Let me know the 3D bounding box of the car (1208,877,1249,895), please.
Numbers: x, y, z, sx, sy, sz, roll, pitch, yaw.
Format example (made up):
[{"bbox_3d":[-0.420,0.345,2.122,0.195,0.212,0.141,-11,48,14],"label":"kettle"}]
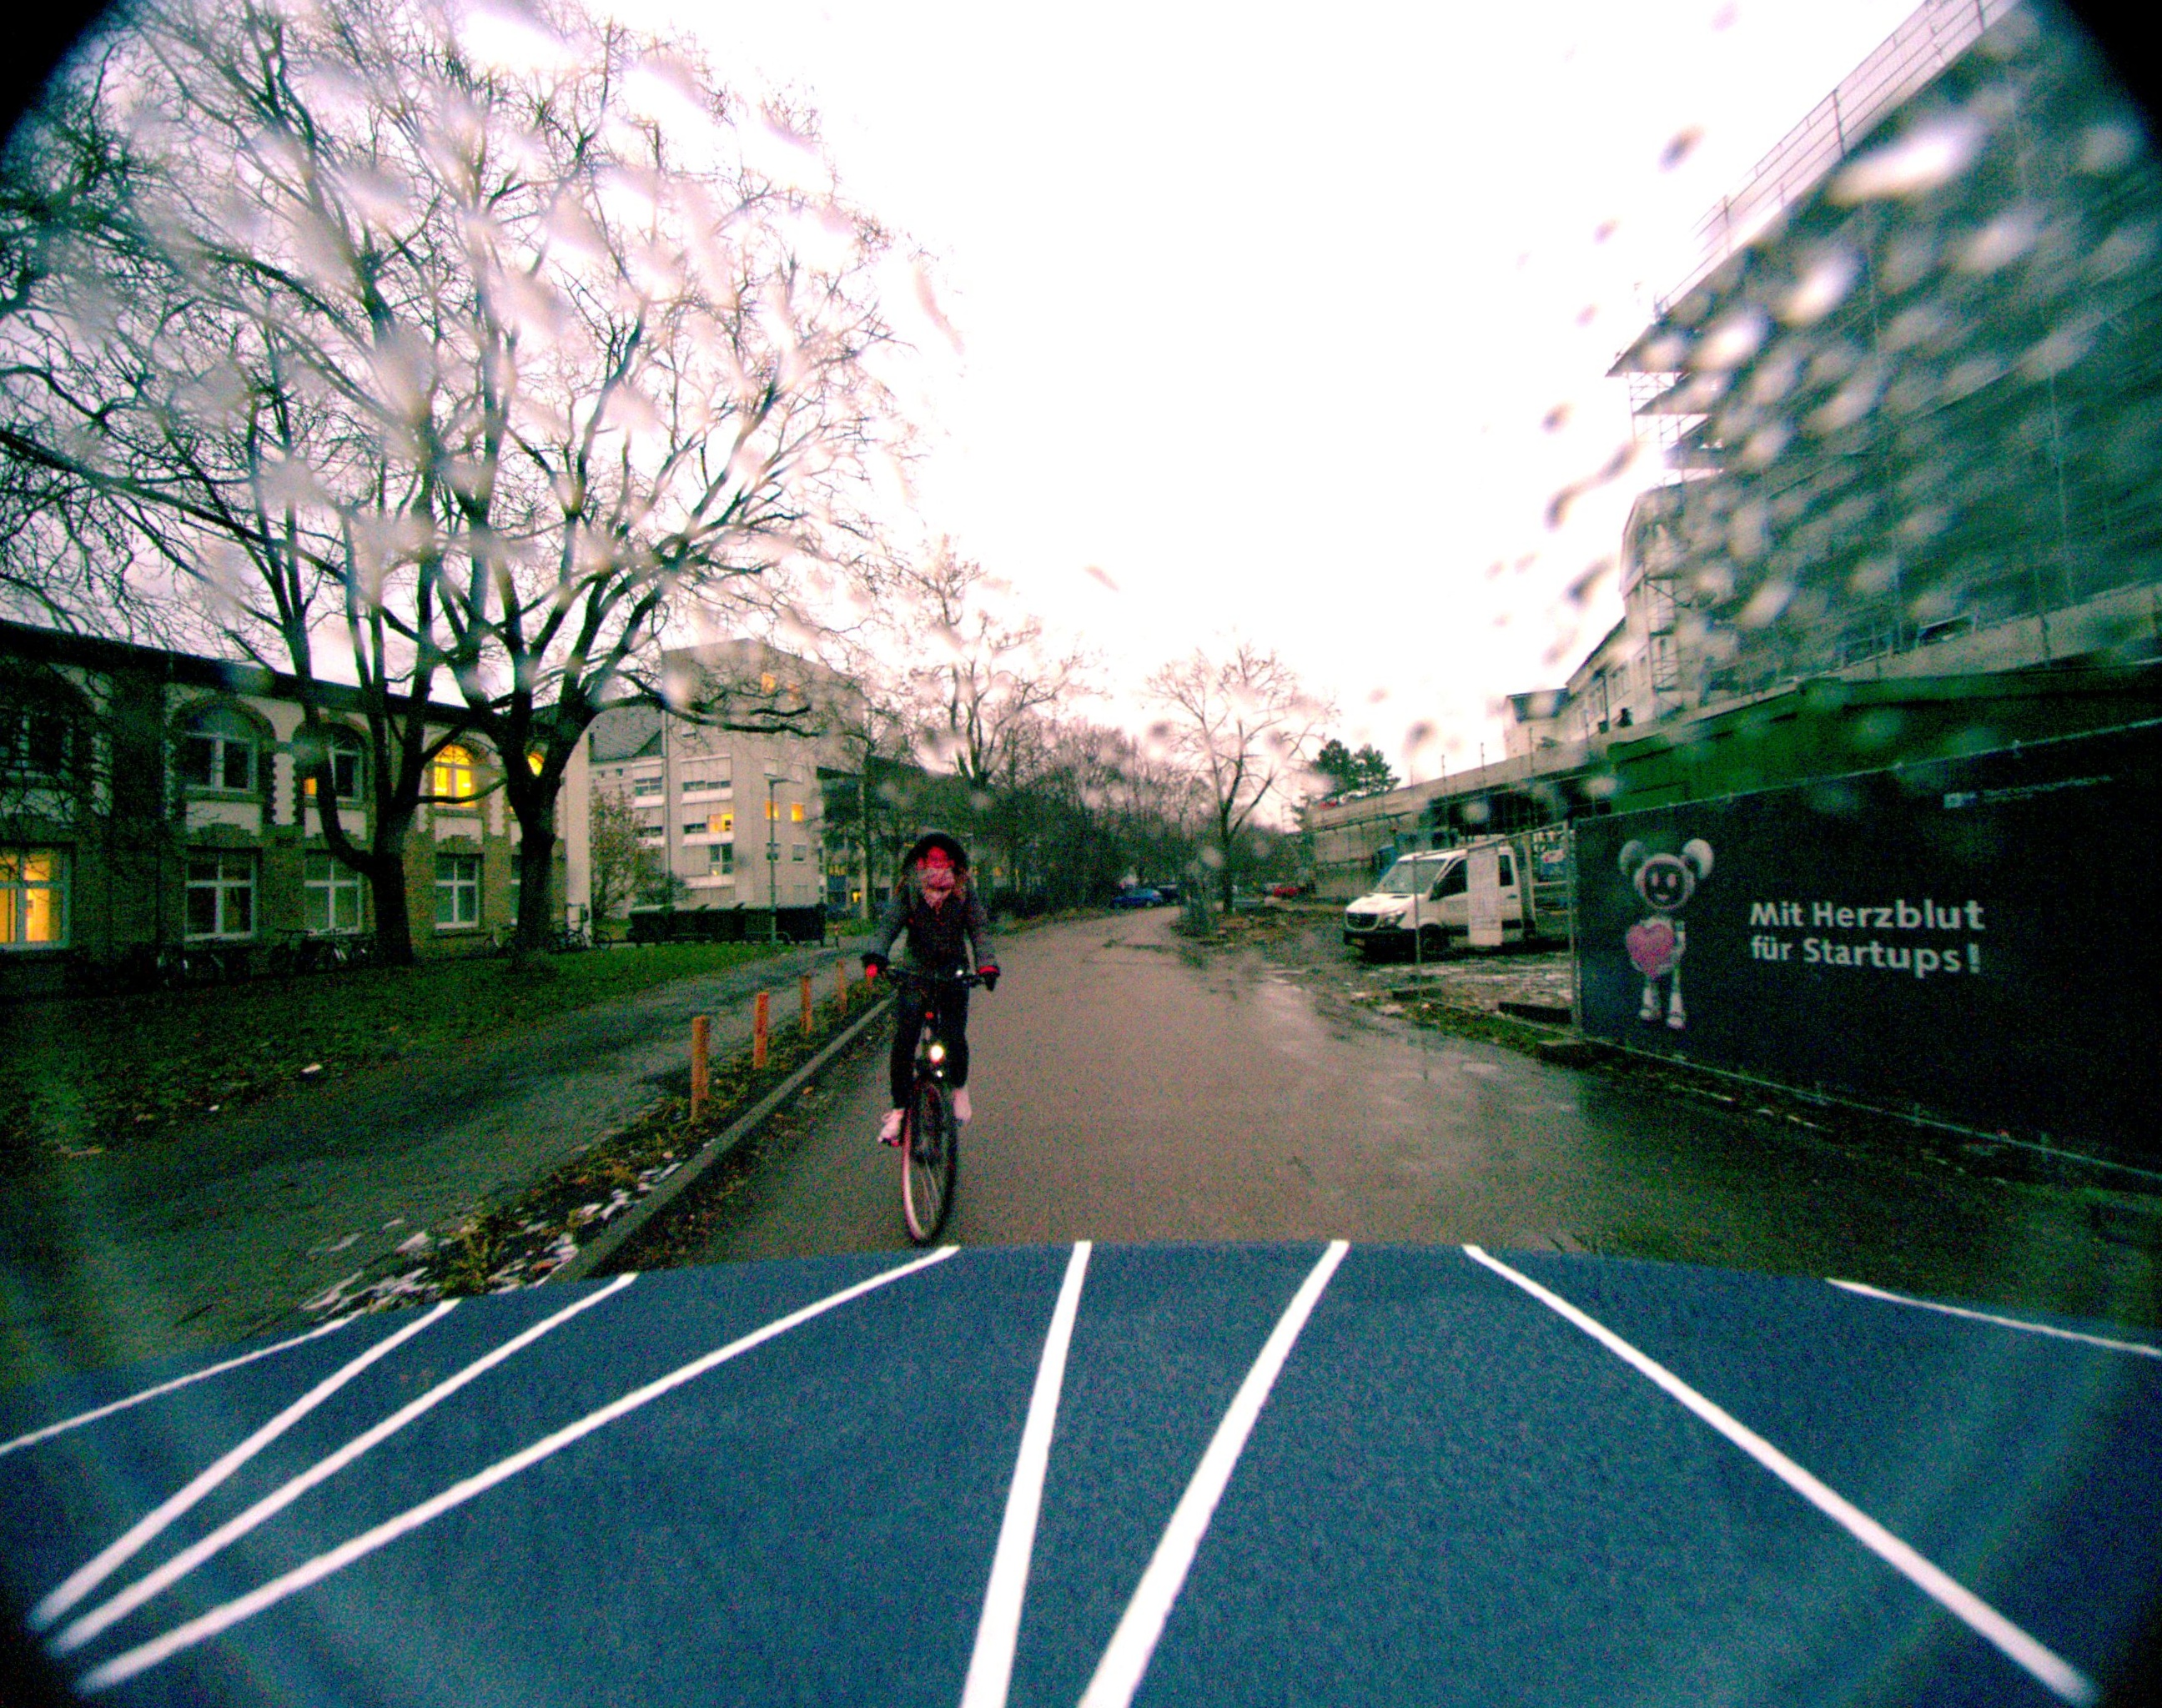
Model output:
[{"bbox_3d":[15.894,3.471,81.851,3.991,1.785,1.805,-3,-2,24],"label":"car"}]

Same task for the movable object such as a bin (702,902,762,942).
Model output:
[{"bbox_3d":[-11.303,2.210,24.628,1.435,1.217,0.989,-2,-2,18],"label":"movable object such as a bin"}]

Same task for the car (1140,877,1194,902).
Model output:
[{"bbox_3d":[7.143,2.942,63.032,3.991,1.979,2.004,-3,-2,24],"label":"car"}]

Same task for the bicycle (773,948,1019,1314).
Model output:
[{"bbox_3d":[-0.751,1.123,3.712,0.730,1.125,1.894,-2,-2,-1],"label":"bicycle"}]

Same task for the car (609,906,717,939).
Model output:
[{"bbox_3d":[-19.585,3.197,35.794,1.995,1.273,4.008,-3,-2,28],"label":"car"}]

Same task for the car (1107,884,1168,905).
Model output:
[{"bbox_3d":[4.315,3.103,57.752,4.172,1.468,2.004,-2,-5,21],"label":"car"}]

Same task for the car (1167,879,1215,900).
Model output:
[{"bbox_3d":[10.091,3.235,69.577,3.991,1.785,1.805,-3,-2,24],"label":"car"}]

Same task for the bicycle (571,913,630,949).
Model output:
[{"bbox_3d":[-16.187,2.592,25.596,2.136,1.150,0.574,-3,-2,25],"label":"bicycle"}]

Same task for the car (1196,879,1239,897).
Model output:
[{"bbox_3d":[13.972,3.457,77.799,3.991,1.651,2.004,-3,-2,24],"label":"car"}]

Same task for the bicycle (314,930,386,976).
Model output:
[{"bbox_3d":[-18.775,2.522,19.512,2.136,1.103,0.574,-3,-2,25],"label":"bicycle"}]

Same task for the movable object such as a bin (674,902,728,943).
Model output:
[{"bbox_3d":[-12.596,2.273,25.182,1.249,1.272,0.989,-2,-2,18],"label":"movable object such as a bin"}]

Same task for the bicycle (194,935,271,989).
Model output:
[{"bbox_3d":[-19.543,2.458,17.494,2.136,1.150,0.574,-3,-2,25],"label":"bicycle"}]

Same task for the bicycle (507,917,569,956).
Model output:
[{"bbox_3d":[-17.034,2.586,23.821,2.136,1.150,0.574,-3,-2,25],"label":"bicycle"}]

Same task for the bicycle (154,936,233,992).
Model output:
[{"bbox_3d":[-19.786,2.428,16.922,2.136,1.150,0.574,-3,-2,25],"label":"bicycle"}]

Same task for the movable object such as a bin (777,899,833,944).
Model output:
[{"bbox_3d":[-8.591,2.092,23.690,1.322,1.309,1.064,-1,-1,5],"label":"movable object such as a bin"}]

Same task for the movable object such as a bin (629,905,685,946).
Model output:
[{"bbox_3d":[-14.140,2.380,25.360,1.261,1.306,0.989,-2,-2,18],"label":"movable object such as a bin"}]

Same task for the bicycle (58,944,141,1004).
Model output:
[{"bbox_3d":[-20.310,2.456,15.719,2.136,1.044,0.574,-1,-1,25],"label":"bicycle"}]

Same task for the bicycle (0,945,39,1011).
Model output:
[{"bbox_3d":[-20.662,2.344,14.447,2.136,1.150,0.574,-3,-2,25],"label":"bicycle"}]

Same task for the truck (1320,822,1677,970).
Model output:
[{"bbox_3d":[9.020,0.814,16.516,7.083,2.572,2.131,-3,-1,-13],"label":"truck"}]

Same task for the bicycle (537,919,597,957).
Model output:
[{"bbox_3d":[-16.768,2.726,24.780,2.136,1.150,0.574,-3,-2,25],"label":"bicycle"}]

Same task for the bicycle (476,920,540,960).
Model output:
[{"bbox_3d":[-17.343,2.598,22.984,2.136,1.150,0.574,-3,-2,25],"label":"bicycle"}]

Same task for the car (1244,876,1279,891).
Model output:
[{"bbox_3d":[23.573,3.881,99.216,3.991,1.785,1.805,-3,-2,24],"label":"car"}]

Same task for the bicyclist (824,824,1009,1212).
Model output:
[{"bbox_3d":[-0.766,0.730,3.739,0.706,1.679,0.771,-2,-1,-1],"label":"bicyclist"}]

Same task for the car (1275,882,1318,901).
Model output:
[{"bbox_3d":[18.177,3.145,63.972,3.302,1.513,1.707,-3,-2,20],"label":"car"}]

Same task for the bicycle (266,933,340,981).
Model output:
[{"bbox_3d":[-19.107,2.516,18.659,2.136,1.085,0.574,-3,-2,25],"label":"bicycle"}]

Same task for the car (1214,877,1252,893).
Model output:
[{"bbox_3d":[17.917,3.663,89.366,3.991,1.785,1.805,-3,-2,24],"label":"car"}]

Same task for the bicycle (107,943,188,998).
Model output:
[{"bbox_3d":[-20.059,2.476,16.323,2.136,1.011,0.574,-1,-1,25],"label":"bicycle"}]

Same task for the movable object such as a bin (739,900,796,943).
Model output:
[{"bbox_3d":[-9.949,2.132,24.119,1.305,1.306,0.989,-2,-2,18],"label":"movable object such as a bin"}]
